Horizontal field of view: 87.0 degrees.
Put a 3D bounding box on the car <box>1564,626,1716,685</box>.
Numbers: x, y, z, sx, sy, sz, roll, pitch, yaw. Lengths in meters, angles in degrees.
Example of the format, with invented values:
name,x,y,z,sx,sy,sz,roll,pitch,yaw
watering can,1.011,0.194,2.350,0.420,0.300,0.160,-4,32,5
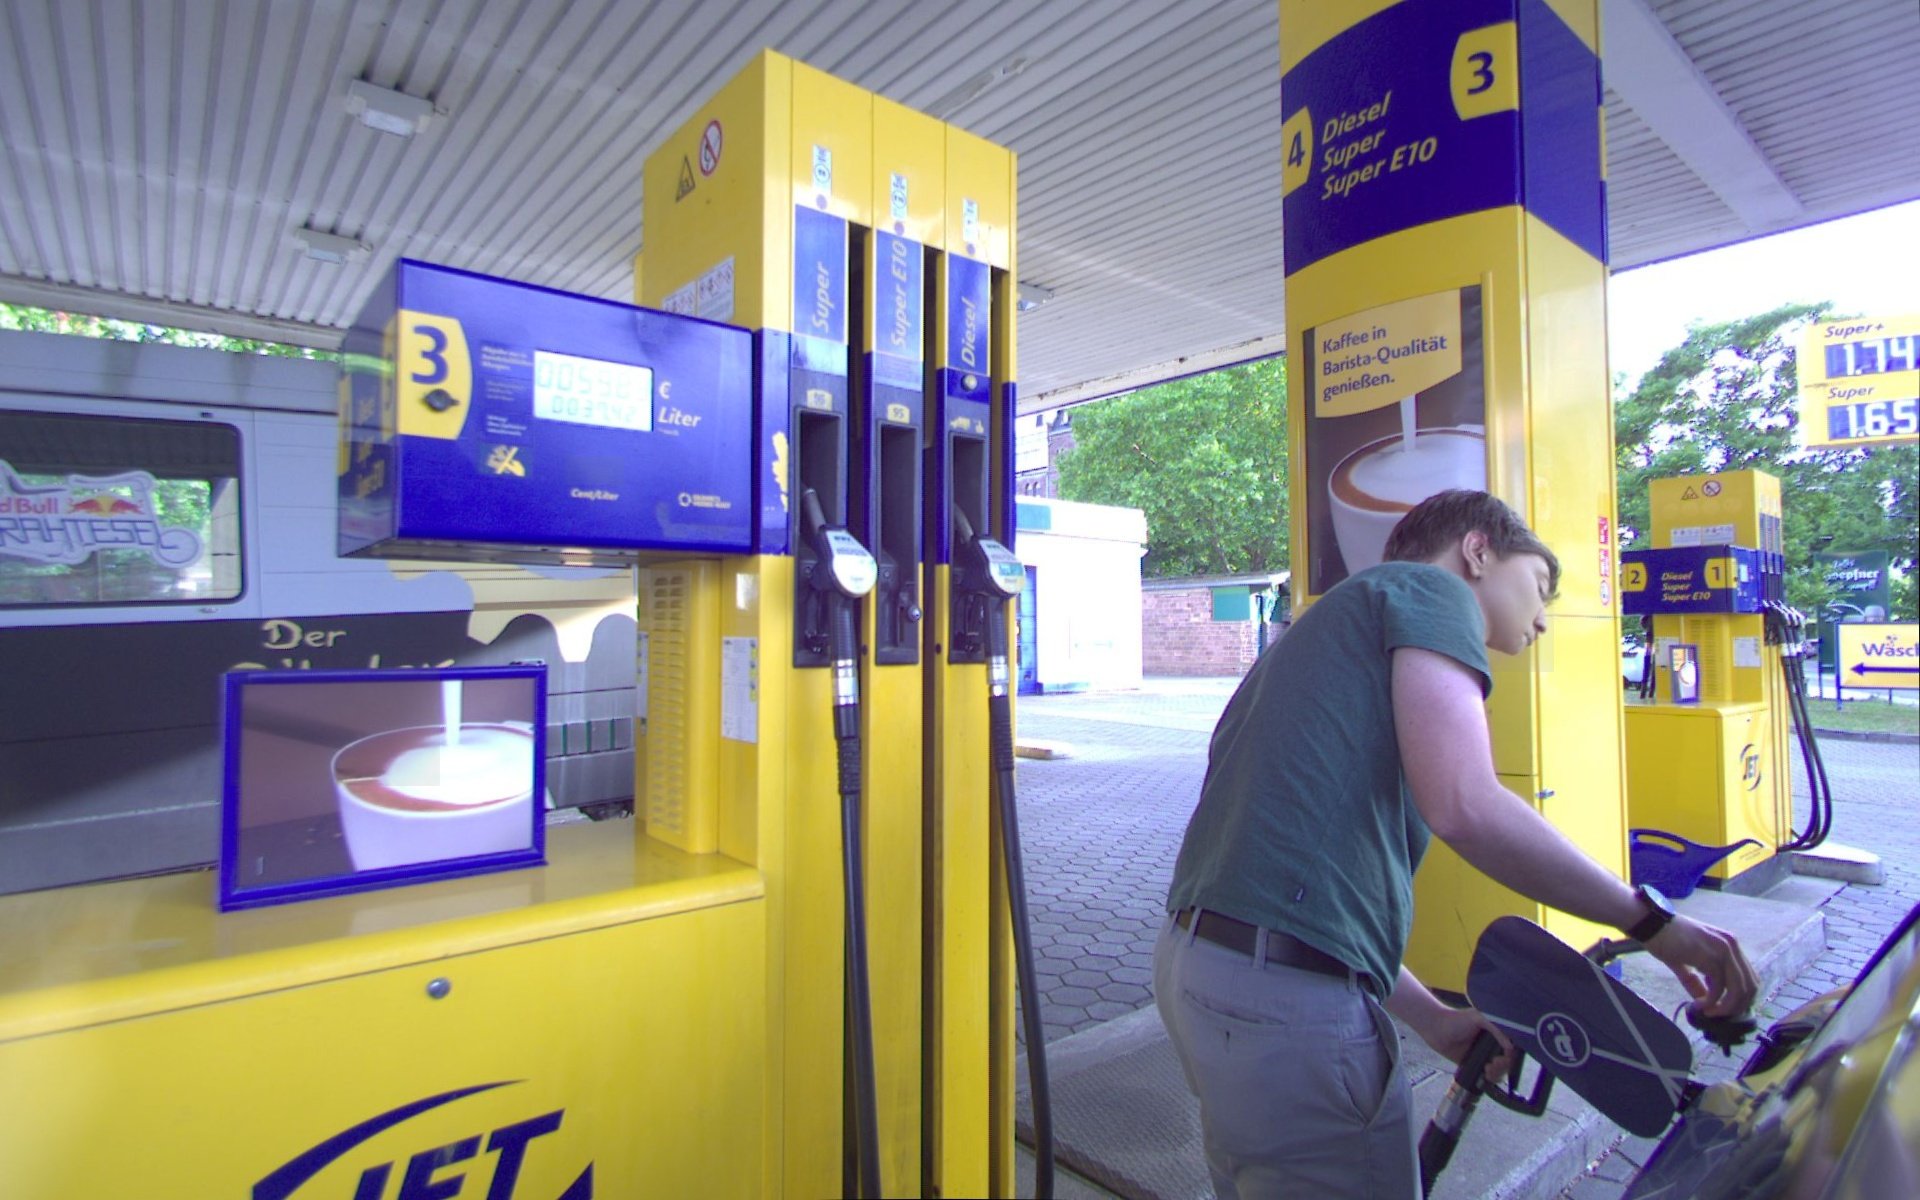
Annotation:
name,x,y,z,sx,sy,sz,roll,pitch,yaw
car,18.262,1.489,27.151,4.112,1.478,1.826,2,-3,-31

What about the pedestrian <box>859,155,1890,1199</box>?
name,x,y,z,sx,sy,sz,roll,pitch,yaw
pedestrian,0.618,0.516,1.535,1.161,1.750,0.993,-2,1,-38

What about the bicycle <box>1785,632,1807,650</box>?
name,x,y,z,sx,sy,sz,roll,pitch,yaw
bicycle,60.739,2.970,73.543,0.783,1.255,1.866,0,0,26

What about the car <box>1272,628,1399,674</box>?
name,x,y,z,sx,sy,sz,roll,pitch,yaw
car,12.650,1.702,34.049,4.112,1.453,1.826,2,-3,-31

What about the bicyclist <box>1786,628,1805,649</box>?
name,x,y,z,sx,sy,sz,roll,pitch,yaw
bicyclist,60.769,2.775,73.606,0.783,1.469,1.165,0,0,26

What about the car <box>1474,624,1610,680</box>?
name,x,y,z,sx,sy,sz,roll,pitch,yaw
car,17.778,1.580,30.867,4.112,1.606,1.826,2,-3,-31

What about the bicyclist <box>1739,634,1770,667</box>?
name,x,y,z,sx,sy,sz,roll,pitch,yaw
bicyclist,35.372,2.248,45.077,0.844,1.441,1.028,-2,-1,26

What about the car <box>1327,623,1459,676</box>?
name,x,y,z,sx,sy,sz,roll,pitch,yaw
car,13.789,1.571,32.186,4.112,1.606,1.826,2,-3,-31

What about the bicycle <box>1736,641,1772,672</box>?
name,x,y,z,sx,sy,sz,roll,pitch,yaw
bicycle,35.398,2.497,45.136,0.844,1.255,1.866,-2,-1,26

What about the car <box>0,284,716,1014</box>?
name,x,y,z,sx,sy,sz,roll,pitch,yaw
car,-4.091,0.194,4.873,5.248,2.760,2.201,0,-1,-39
